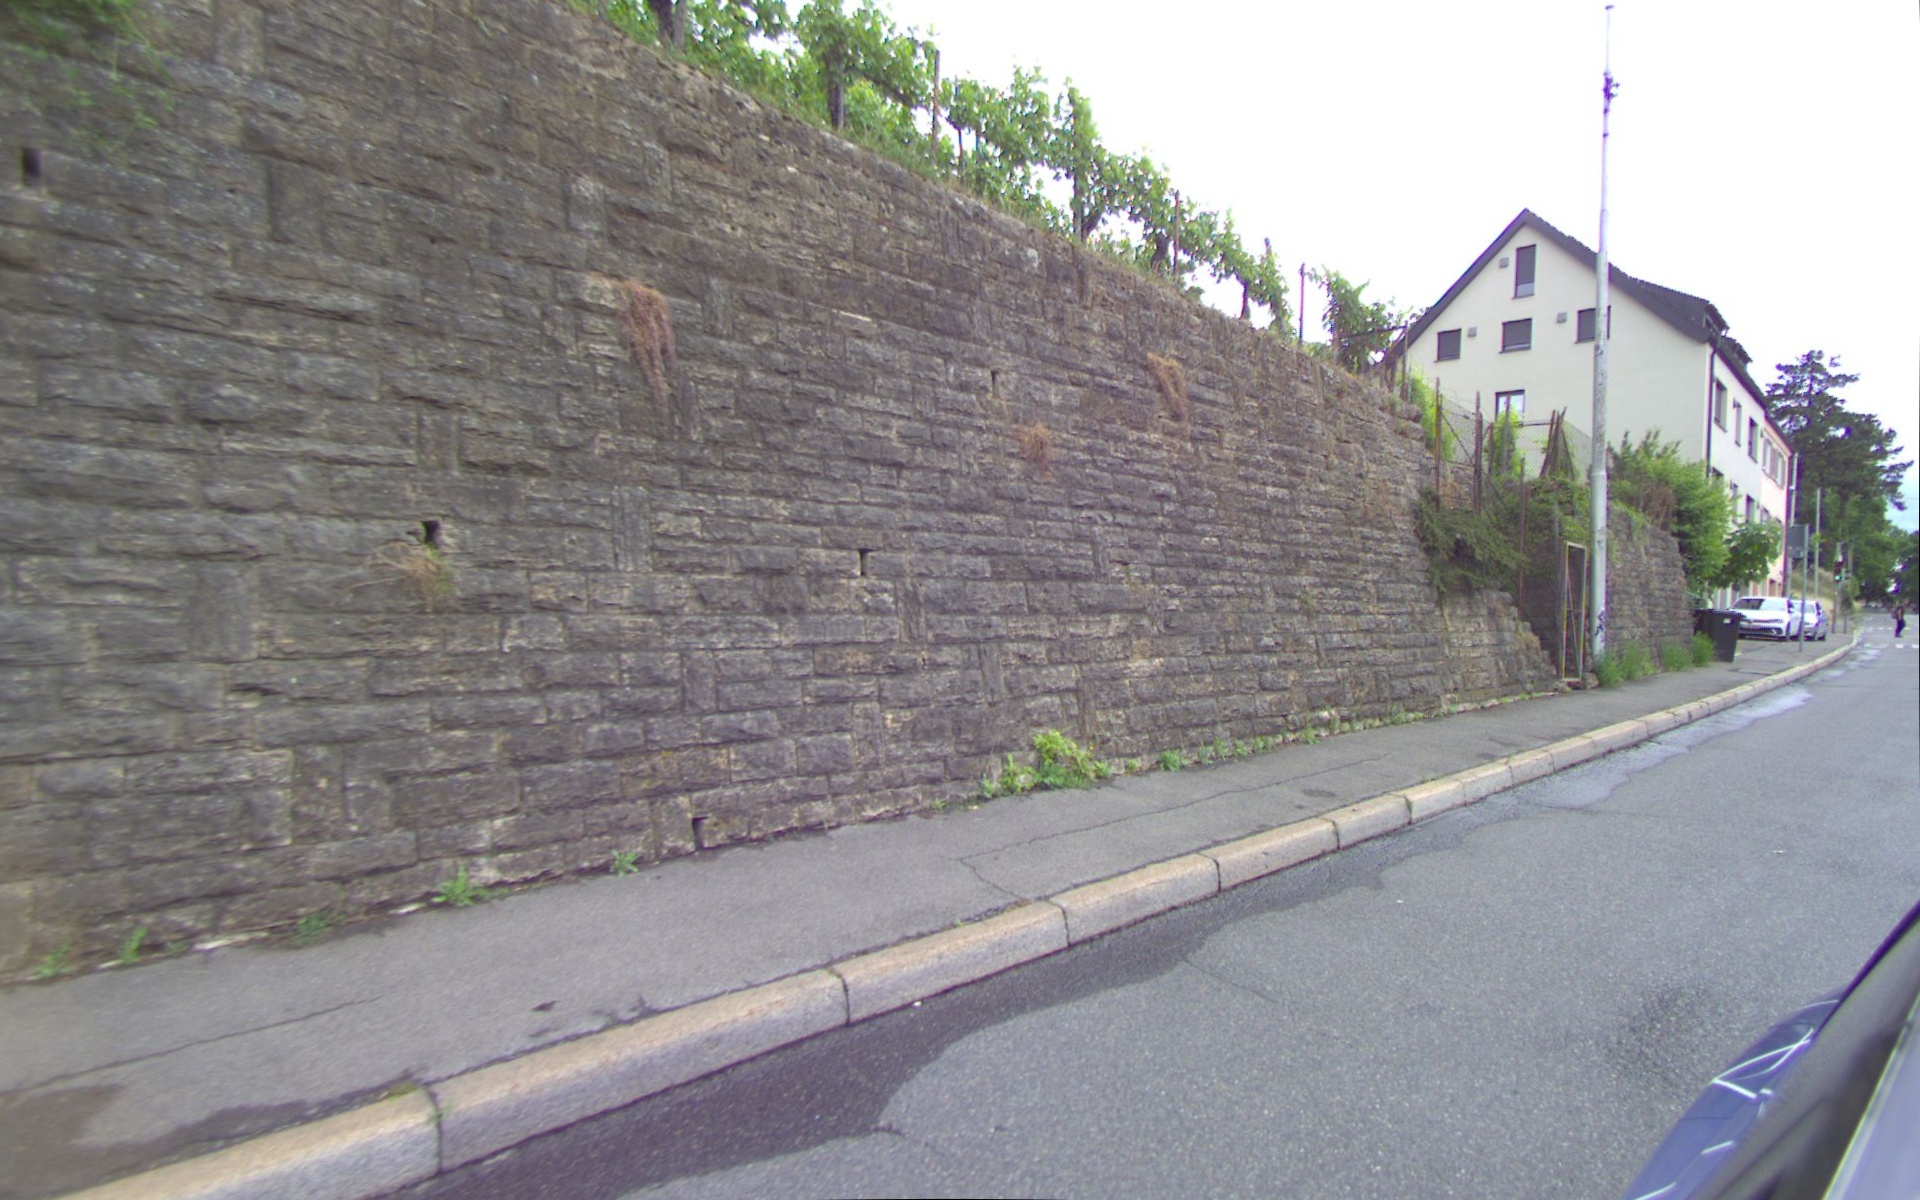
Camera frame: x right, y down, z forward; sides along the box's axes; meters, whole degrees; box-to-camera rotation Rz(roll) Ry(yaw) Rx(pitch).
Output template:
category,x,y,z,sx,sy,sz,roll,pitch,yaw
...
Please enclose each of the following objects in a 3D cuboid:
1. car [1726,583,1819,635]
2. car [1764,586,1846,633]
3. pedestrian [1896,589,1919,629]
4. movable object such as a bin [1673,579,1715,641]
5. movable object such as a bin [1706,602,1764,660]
category,x,y,z,sx,sy,sz,roll,pitch,yaw
car,26.687,0.244,33.194,3.987,1.595,1.796,-1,1,-42
car,30.401,0.288,36.364,4.177,1.595,1.730,-1,1,-42
pedestrian,41.846,0.390,44.624,0.683,1.733,0.735,0,0,-39
movable object such as a bin,18.900,0.243,26.051,0.750,1.561,1.049,2,1,41
movable object such as a bin,15.922,0.627,20.785,0.860,1.141,0.810,0,1,-43
